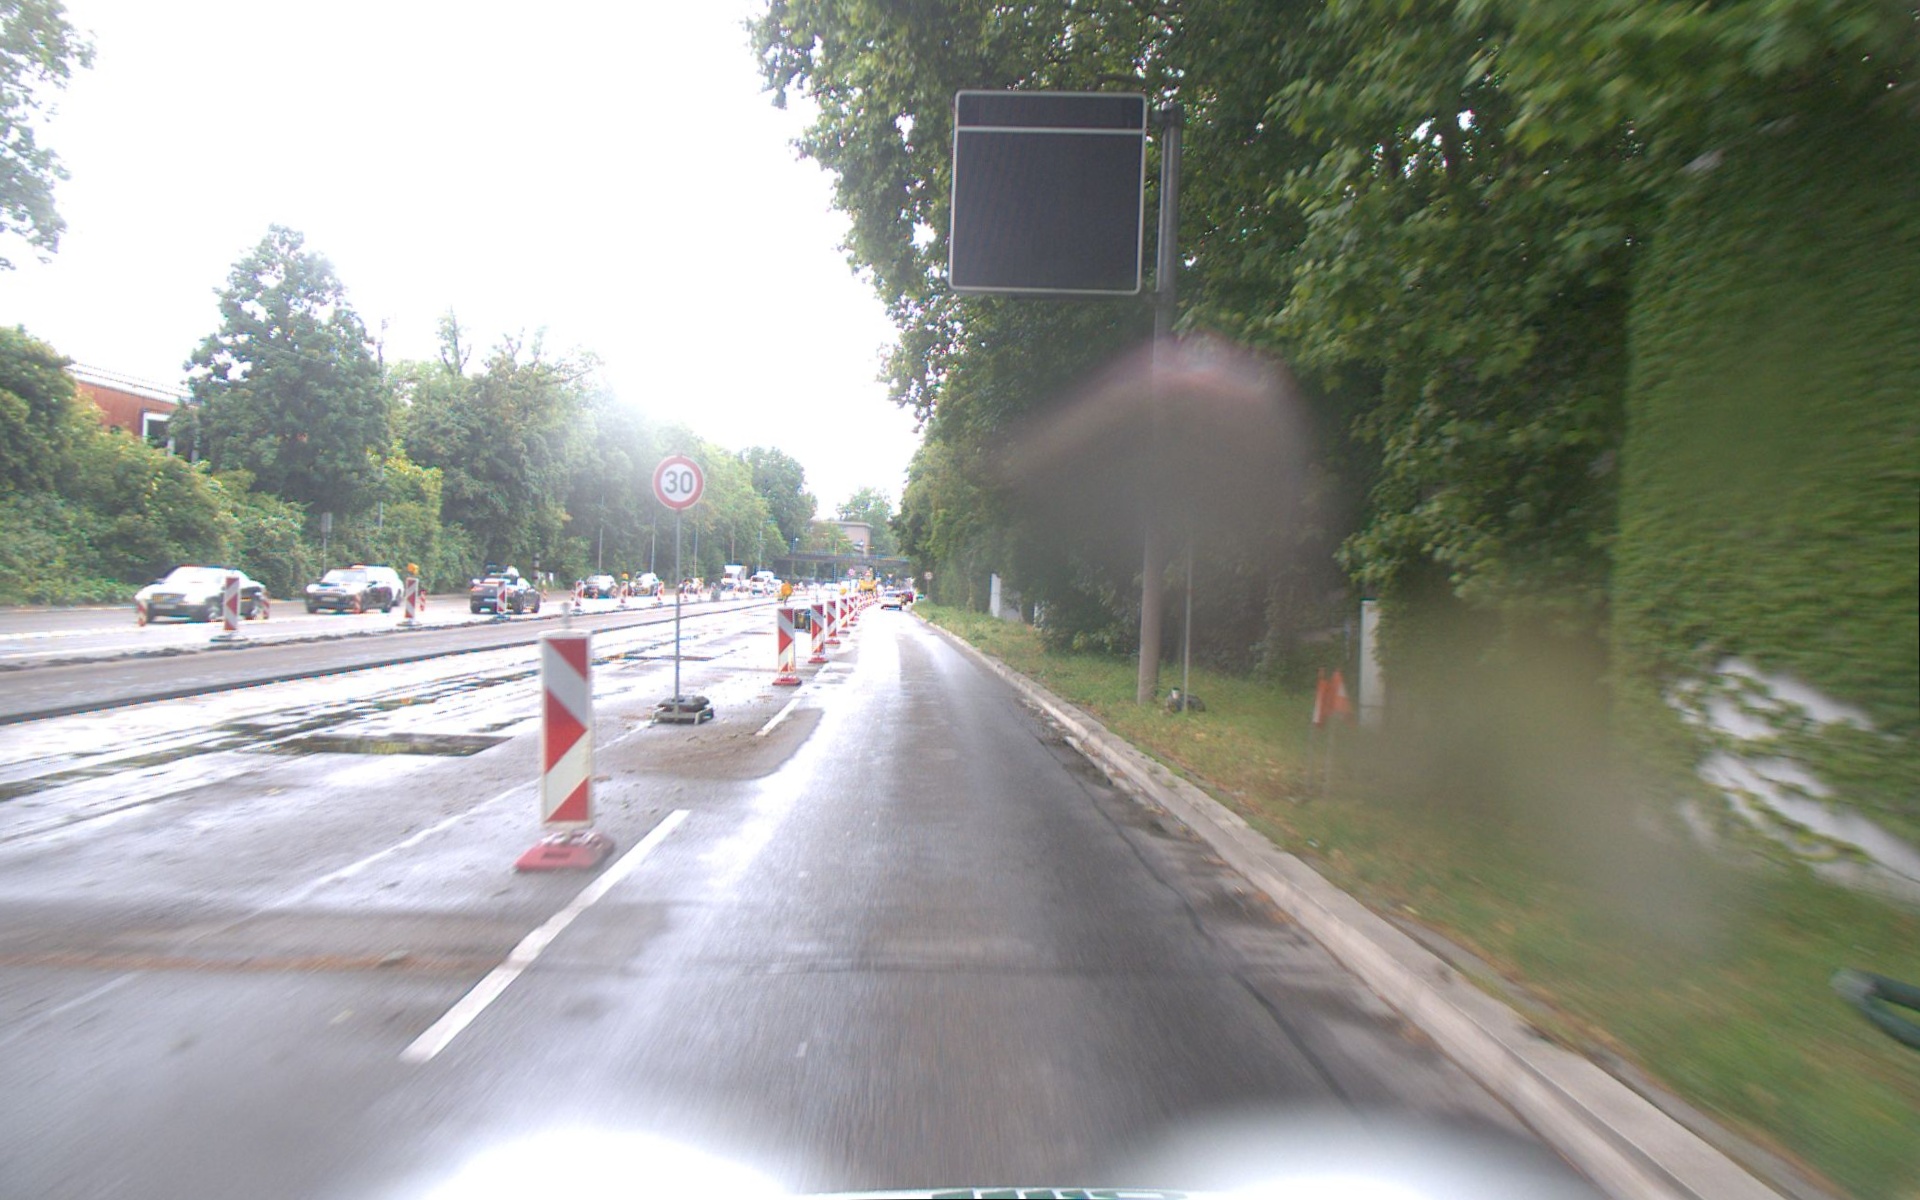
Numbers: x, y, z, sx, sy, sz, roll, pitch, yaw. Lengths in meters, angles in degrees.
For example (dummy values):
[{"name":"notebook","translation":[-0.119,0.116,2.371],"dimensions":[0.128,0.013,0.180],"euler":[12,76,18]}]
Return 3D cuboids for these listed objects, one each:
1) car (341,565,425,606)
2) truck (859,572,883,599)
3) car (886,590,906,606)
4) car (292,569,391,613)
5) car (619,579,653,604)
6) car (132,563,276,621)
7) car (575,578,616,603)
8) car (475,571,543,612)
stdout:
[{"name":"car","translation":[-22.652,-0.579,65.095],"dimensions":[1.781,1.444,4.600],"euler":[3,0,-3]},{"name":"truck","translation":[-12.743,-2.131,238.320],"dimensions":[3.194,3.558,13.863],"euler":[2,1,-3]},{"name":"car","translation":[-5.316,-0.185,137.271],"dimensions":[1.663,1.359,3.489],"euler":[0,0,-2]},{"name":"car","translation":[-19.997,-0.307,53.668],"dimensions":[1.781,1.379,4.203],"euler":[0,1,-3]},{"name":"car","translation":[-23.612,-0.608,120.631],"dimensions":[1.700,1.752,4.491],"euler":[2,0,-3]},{"name":"car","translation":[-19.057,-0.204,41.886],"dimensions":[1.781,1.379,4.388],"euler":[0,1,-3]},{"name":"car","translation":[-22.674,-0.604,103.052],"dimensions":[1.725,1.509,4.897],"euler":[2,0,-3]},{"name":"car","translation":[-16.859,-0.323,61.996],"dimensions":[1.575,1.429,4.039],"euler":[2,1,-3]}]
